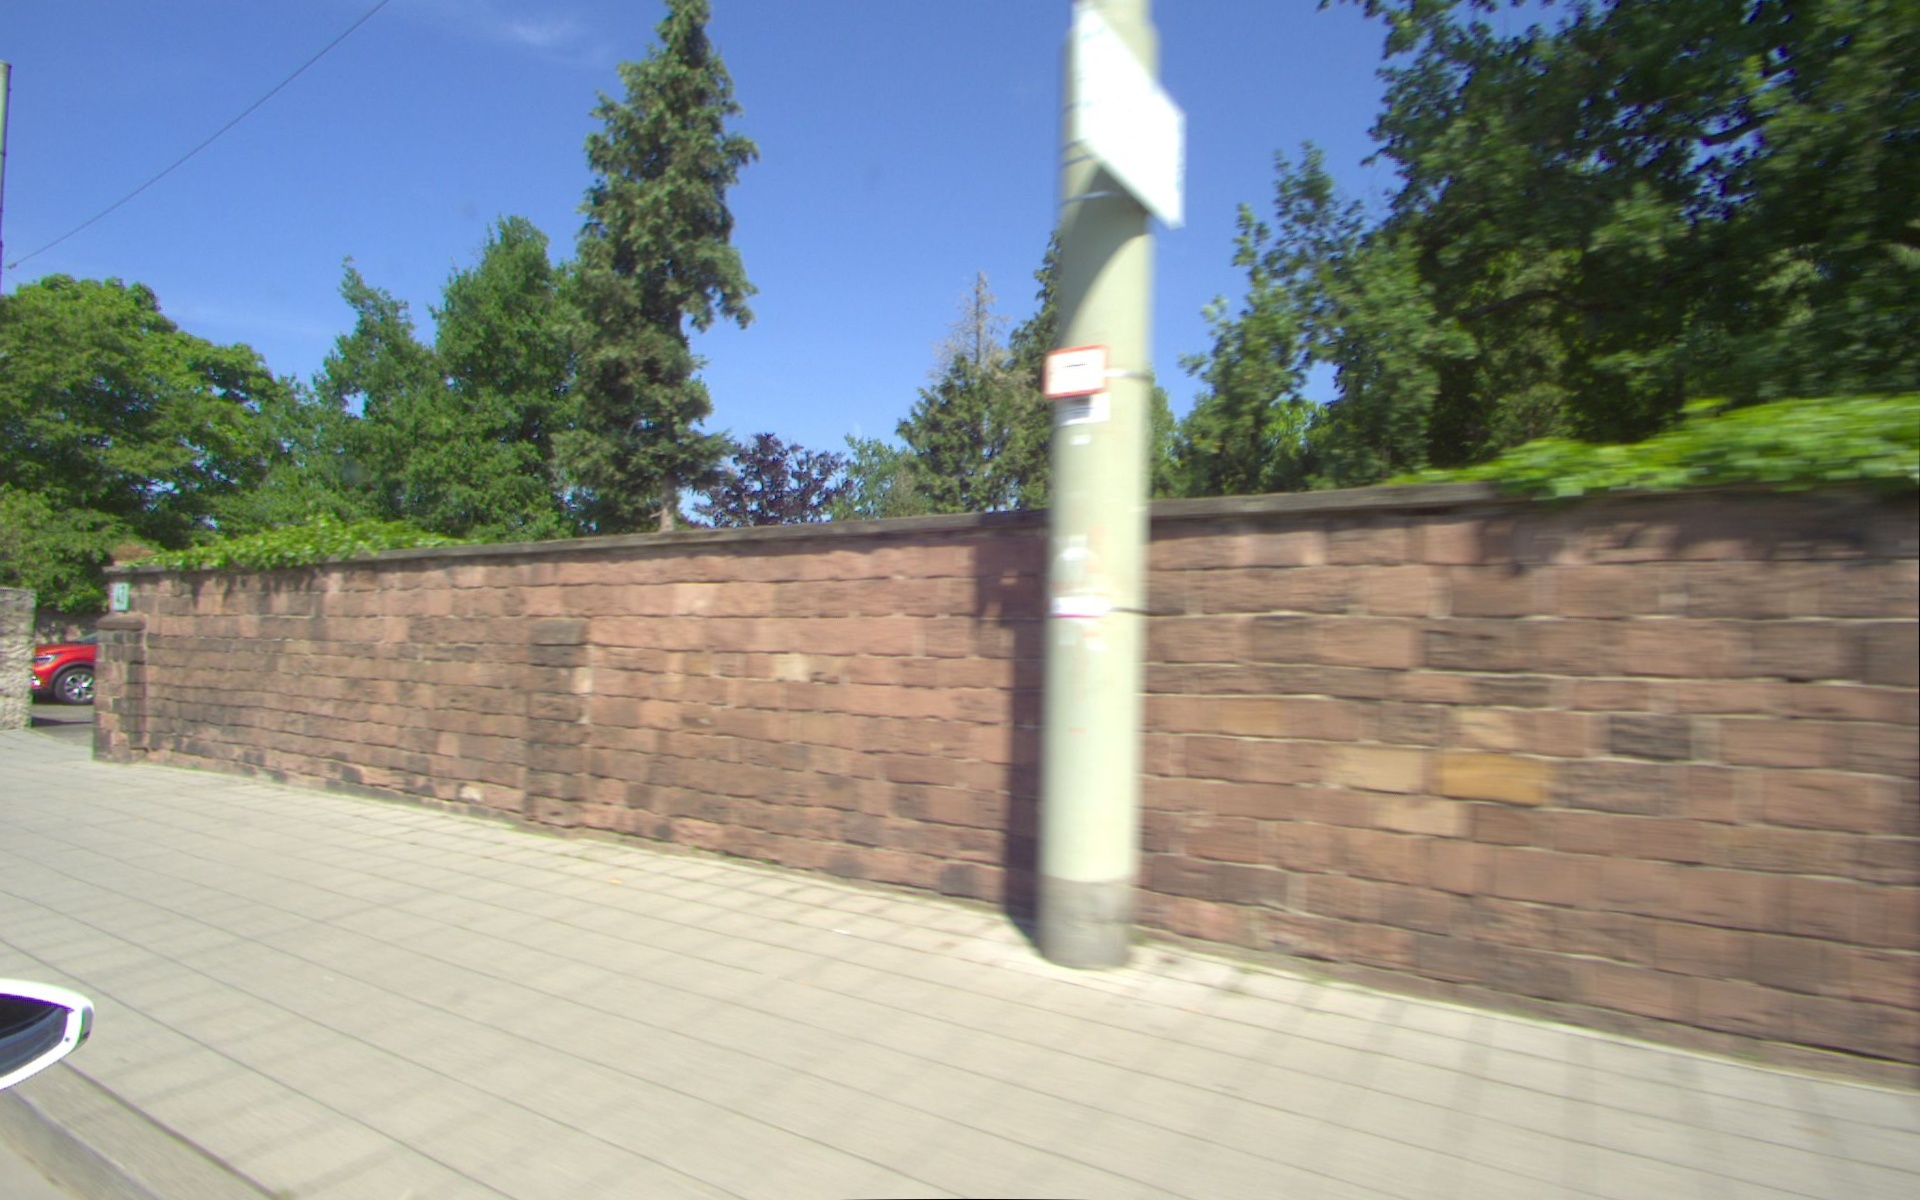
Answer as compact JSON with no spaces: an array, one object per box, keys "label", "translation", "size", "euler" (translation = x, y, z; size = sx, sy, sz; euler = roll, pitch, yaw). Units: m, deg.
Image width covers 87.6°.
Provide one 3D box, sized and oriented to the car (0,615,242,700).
[{"label":"car","translation":[-16.133,1.108,19.274],"size":[1.502,1.482,3.404],"euler":[0,-3,32]}]
